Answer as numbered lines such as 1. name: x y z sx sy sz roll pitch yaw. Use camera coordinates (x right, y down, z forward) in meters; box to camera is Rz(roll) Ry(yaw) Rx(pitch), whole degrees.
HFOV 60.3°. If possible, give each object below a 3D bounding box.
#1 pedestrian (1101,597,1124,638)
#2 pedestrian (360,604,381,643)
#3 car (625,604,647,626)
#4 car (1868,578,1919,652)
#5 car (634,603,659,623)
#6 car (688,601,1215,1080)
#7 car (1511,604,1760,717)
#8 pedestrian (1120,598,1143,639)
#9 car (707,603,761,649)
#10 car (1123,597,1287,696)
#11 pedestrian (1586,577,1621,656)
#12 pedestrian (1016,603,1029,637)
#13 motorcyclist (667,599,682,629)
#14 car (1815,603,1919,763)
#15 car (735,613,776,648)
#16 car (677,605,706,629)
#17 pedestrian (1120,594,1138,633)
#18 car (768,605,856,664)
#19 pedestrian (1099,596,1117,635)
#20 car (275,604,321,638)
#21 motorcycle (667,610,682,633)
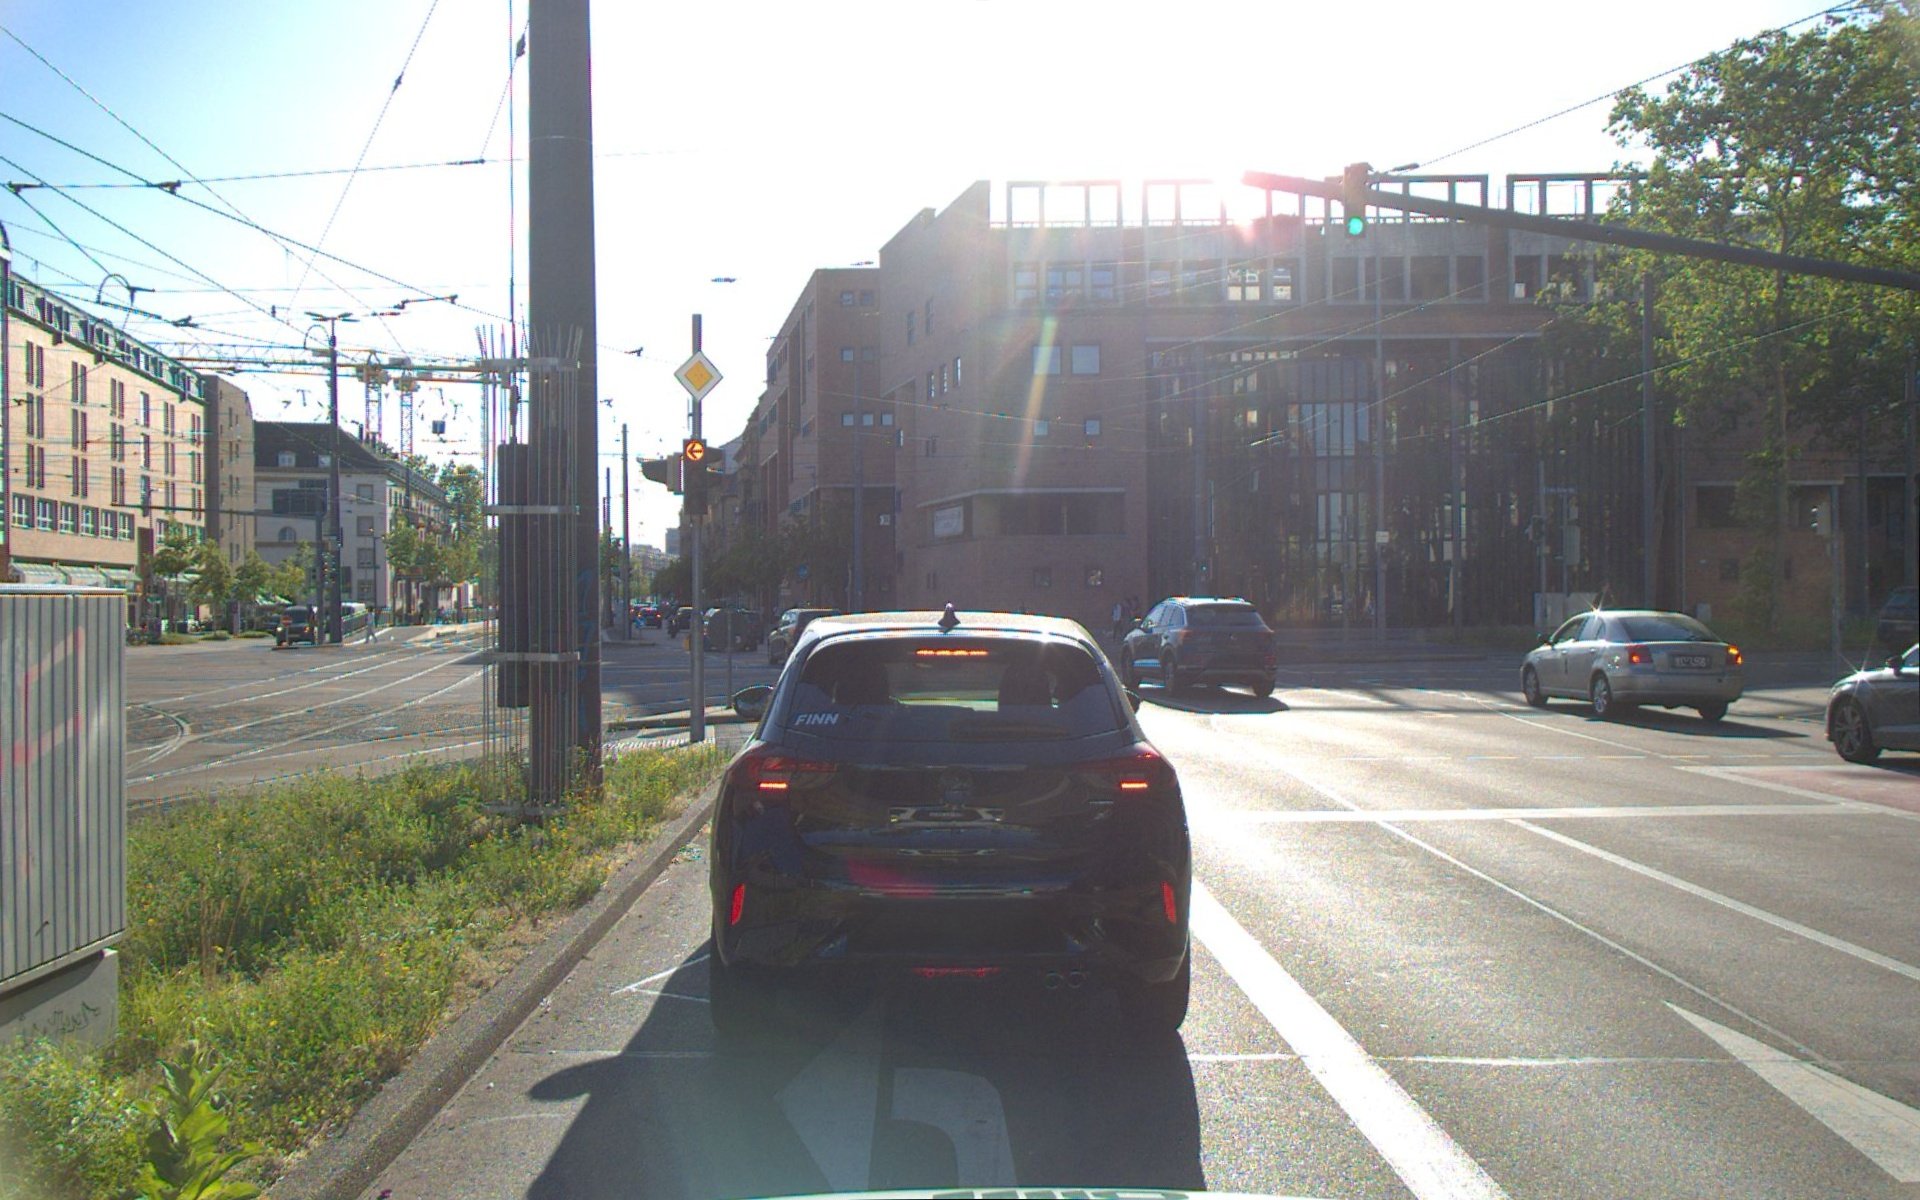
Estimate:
1. pedestrian: 6.271 0.725 67.951 0.881 1.645 0.561 -1 0 8
2. pedestrian: -25.465 0.993 71.456 0.752 1.669 0.742 -1 0 -14
3. car: -26.399 1.208 134.805 1.706 1.680 3.988 0 0 -12
4. car: 23.302 0.321 37.920 4.371 1.657 1.688 0 0 -13
5. car: -22.537 0.916 118.857 1.707 1.373 3.988 0 0 -12
6. car: -0.010 0.742 7.097 1.615 1.458 4.000 0 0 0
7. car: 9.689 0.806 24.123 1.715 1.456 4.487 -1 0 -1
8. pedestrian: 6.961 0.748 67.226 0.881 1.645 0.561 -1 0 8
9. car: -7.938 0.888 58.012 1.777 1.518 4.487 -1 0 -8
10. car: 4.034 0.723 27.855 1.712 1.531 3.873 -1 0 -8
11. pedestrian: 14.737 0.381 37.857 0.692 1.789 0.560 -1 0 25
12. pedestrian: 2.674 0.861 70.649 0.519 1.455 0.598 -1 0 -1
13. motorcyclist: -14.815 0.736 85.831 0.731 1.557 1.019 -1 0 -9
14. car: 9.704 0.770 14.968 1.676 1.466 4.109 0 0 -2
15. car: -9.210 1.342 74.422 1.773 1.483 3.994 1 0 -7
16. car: -17.084 1.085 105.462 1.774 1.483 3.992 1 0 -9
17. pedestrian: 7.048 0.557 69.035 0.722 1.645 0.561 -1 0 8
18. car: -3.936 0.865 43.375 1.657 1.458 4.137 -1 0 -14
19. pedestrian: 6.318 0.661 70.660 0.722 1.645 0.561 -1 0 8
20. car: -31.211 0.977 78.019 1.717 1.531 3.861 -1 0 -18
21. motorcycle: -14.806 1.116 85.824 0.761 1.135 1.965 -1 0 -9
